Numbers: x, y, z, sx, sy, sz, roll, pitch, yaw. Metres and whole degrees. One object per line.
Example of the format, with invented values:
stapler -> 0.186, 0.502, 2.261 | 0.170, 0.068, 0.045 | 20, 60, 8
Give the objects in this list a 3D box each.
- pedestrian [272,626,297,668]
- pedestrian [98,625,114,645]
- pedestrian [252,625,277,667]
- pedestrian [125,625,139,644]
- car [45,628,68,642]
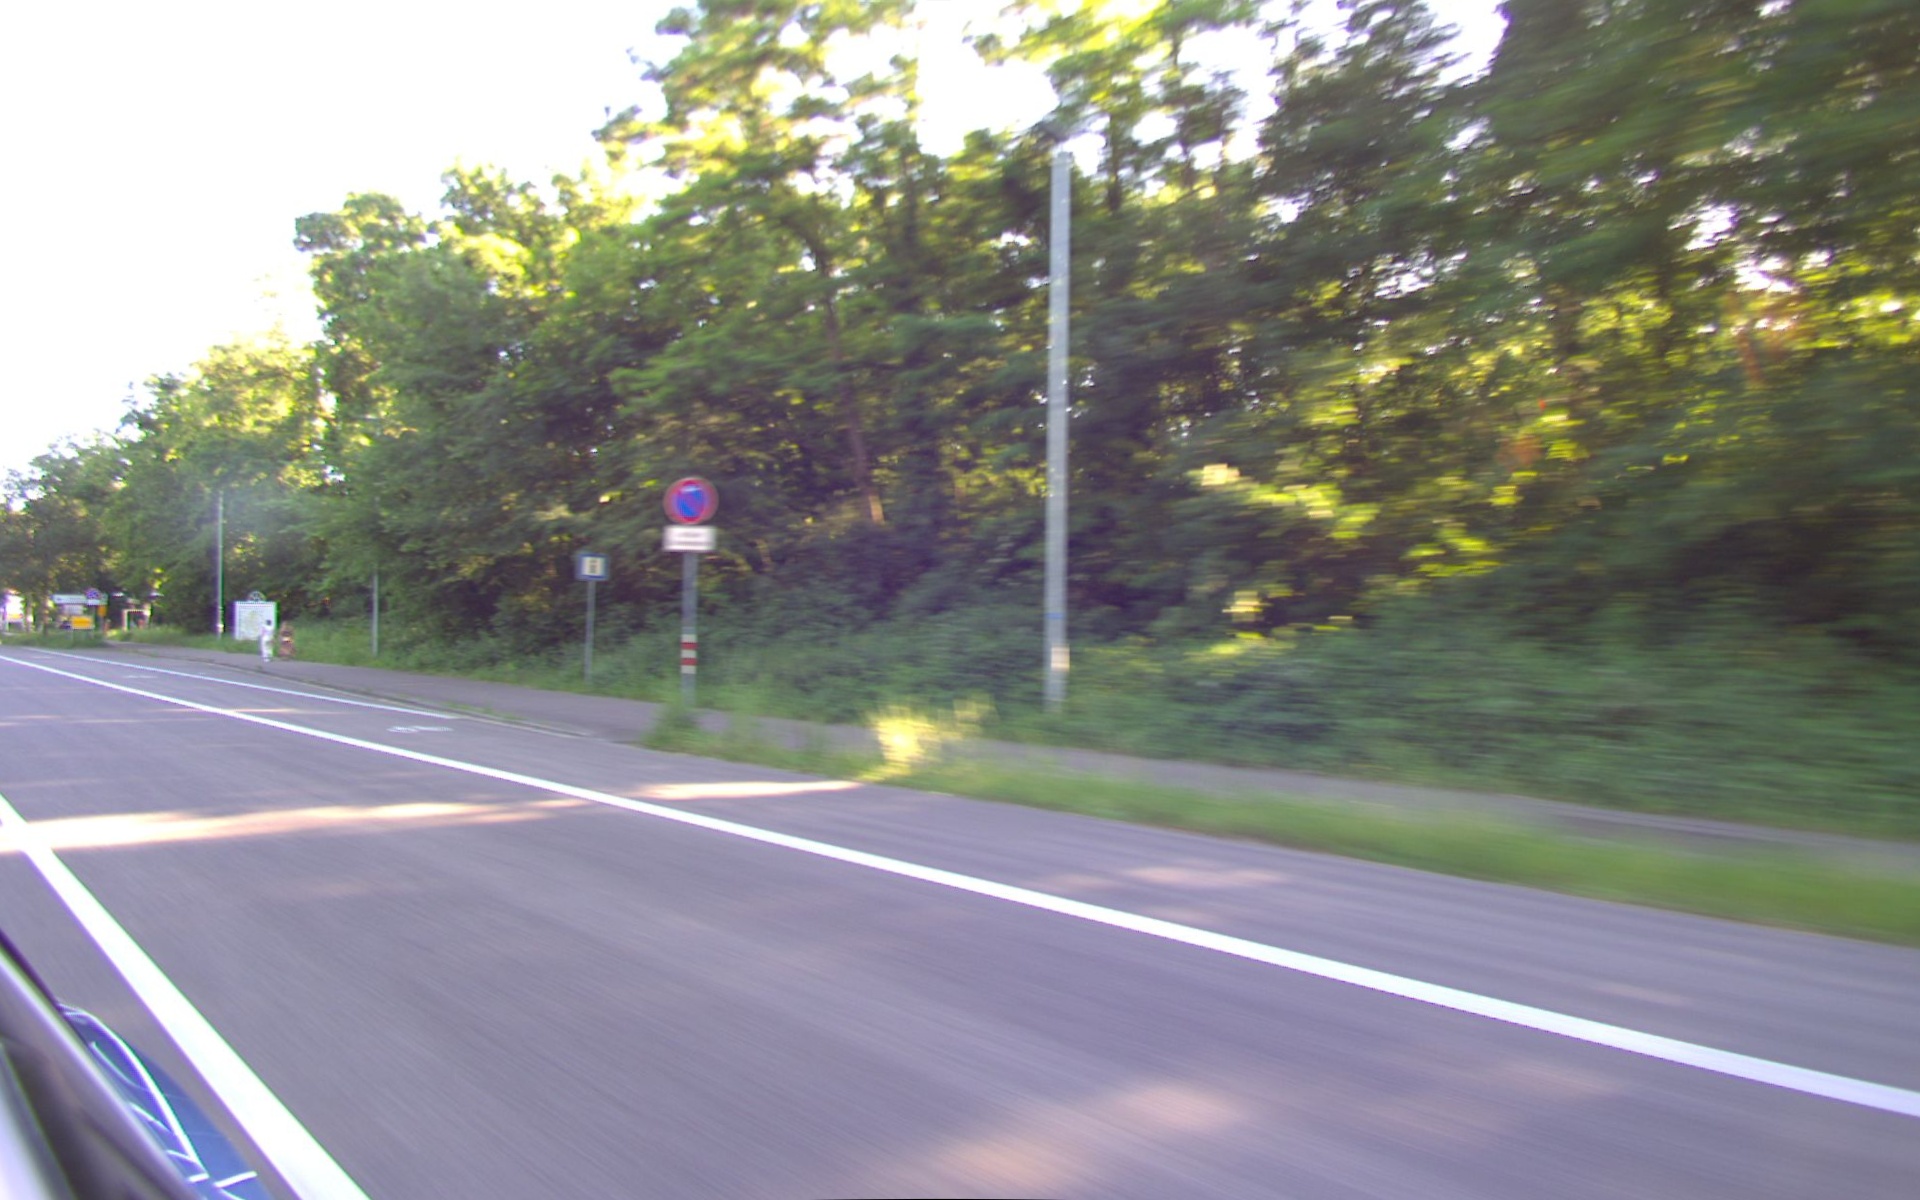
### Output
pedestrian -> -26.969, 1.856, 40.422 | 0.667, 1.666, 0.790 | 2, -3, -44
pedestrian -> -78.587, 3.185, 93.133 | 0.824, 1.833, 0.735 | 0, -2, 4
pedestrian -> -27.466, 1.810, 39.950 | 0.667, 1.666, 0.790 | 2, -3, -44
pedestrian -> -77.058, 3.211, 94.179 | 0.820, 1.833, 0.739 | 1, -2, -19
car -> -109.114, 4.185, 122.268 | 3.612, 1.653, 1.735 | -1, -3, 43
